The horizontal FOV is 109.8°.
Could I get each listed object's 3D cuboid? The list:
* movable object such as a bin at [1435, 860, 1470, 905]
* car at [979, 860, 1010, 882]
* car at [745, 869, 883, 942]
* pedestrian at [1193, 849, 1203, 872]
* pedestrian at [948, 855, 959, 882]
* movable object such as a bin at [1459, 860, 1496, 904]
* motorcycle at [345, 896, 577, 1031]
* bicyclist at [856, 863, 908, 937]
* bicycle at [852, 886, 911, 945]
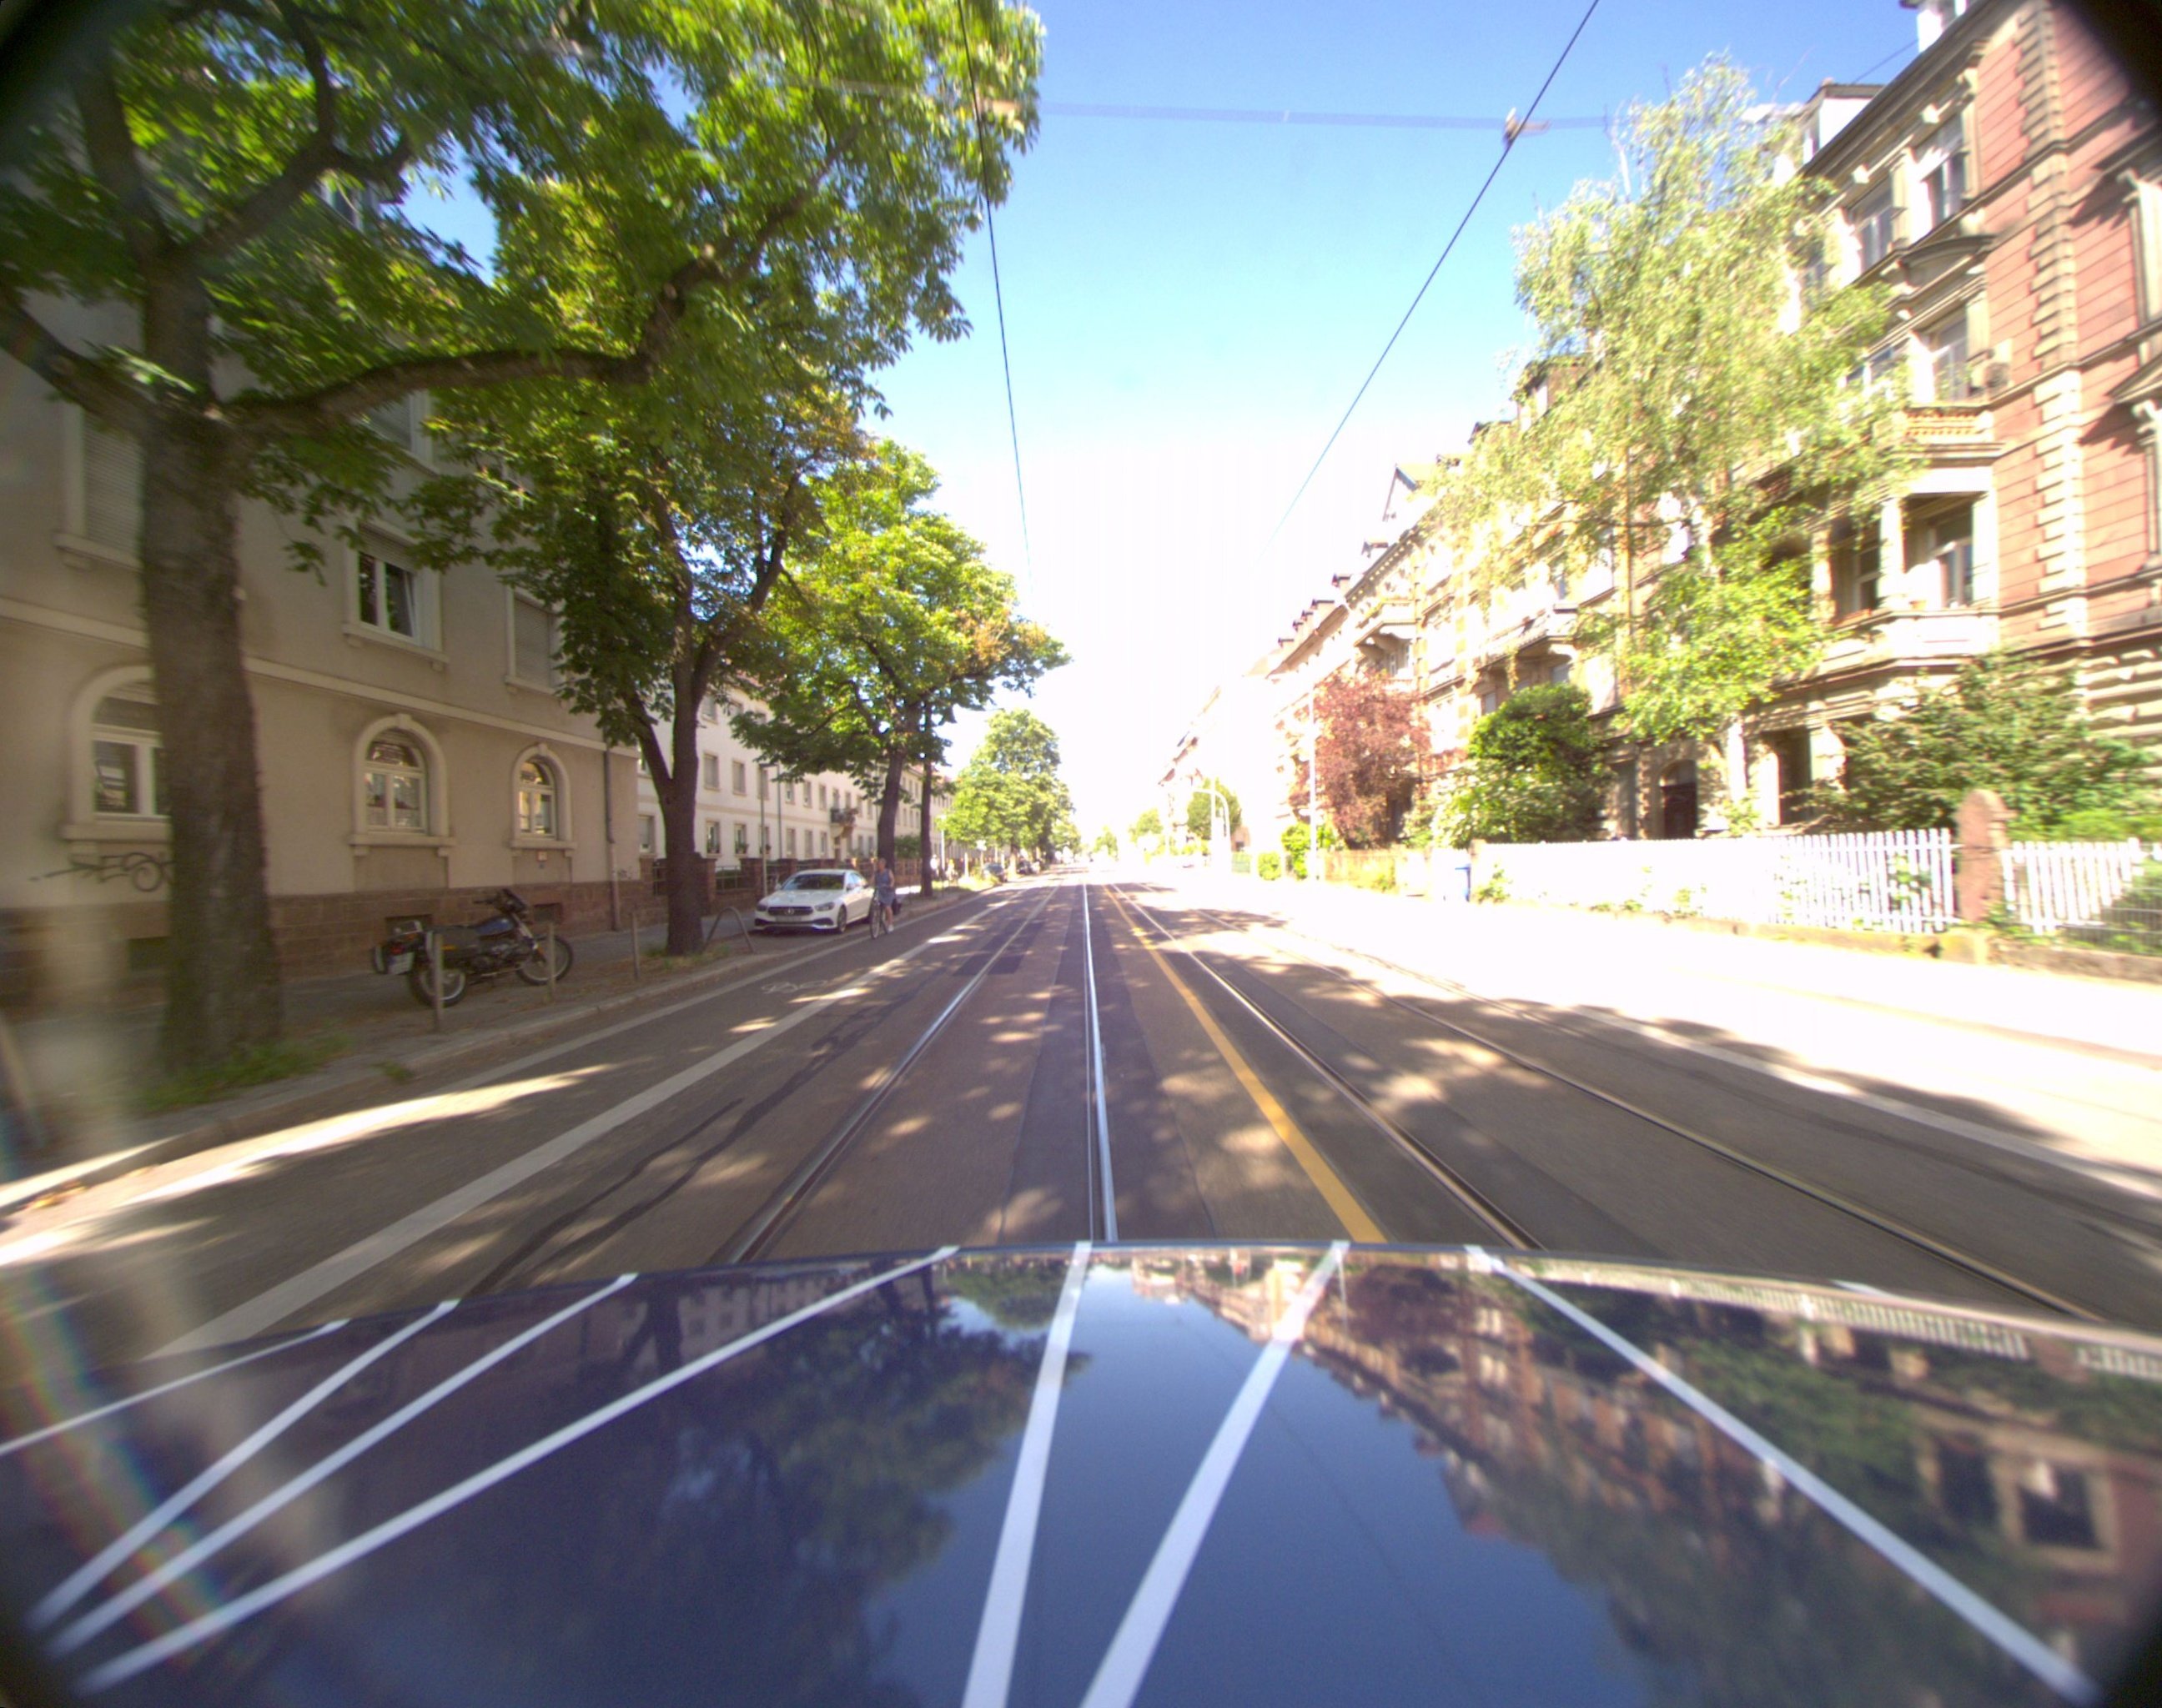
[{"bbox_3d":[10.023,0.768,20.519,0.590,1.169,0.665,-1,0,-4],"label":"movable object such as a bin"},{"bbox_3d":[-5.997,1.163,52.966,1.761,1.458,4.613,0,0,-2],"label":"car"},{"bbox_3d":[-6.282,1.138,18.507,1.824,1.475,4.748,0,0,-2],"label":"car"},{"bbox_3d":[9.528,0.554,61.875,0.809,1.825,0.754,-1,1,9],"label":"pedestrian"},{"bbox_3d":[-9.345,1.059,55.786,0.743,2.002,0.687,-1,1,-8],"label":"pedestrian"},{"bbox_3d":[10.720,0.746,20.555,0.590,1.169,0.665,-1,0,-4],"label":"movable object such as a bin"},{"bbox_3d":[-7.045,1.176,8.844,0.763,1.243,2.263,-1,0,3],"label":"motorcycle"},{"bbox_3d":[-4.291,0.966,16.464,0.776,1.505,1.229,-2,0,-2],"label":"bicyclist"},{"bbox_3d":[-4.284,1.291,16.462,0.776,1.080,2.058,-2,0,-2],"label":"bicycle"}]
